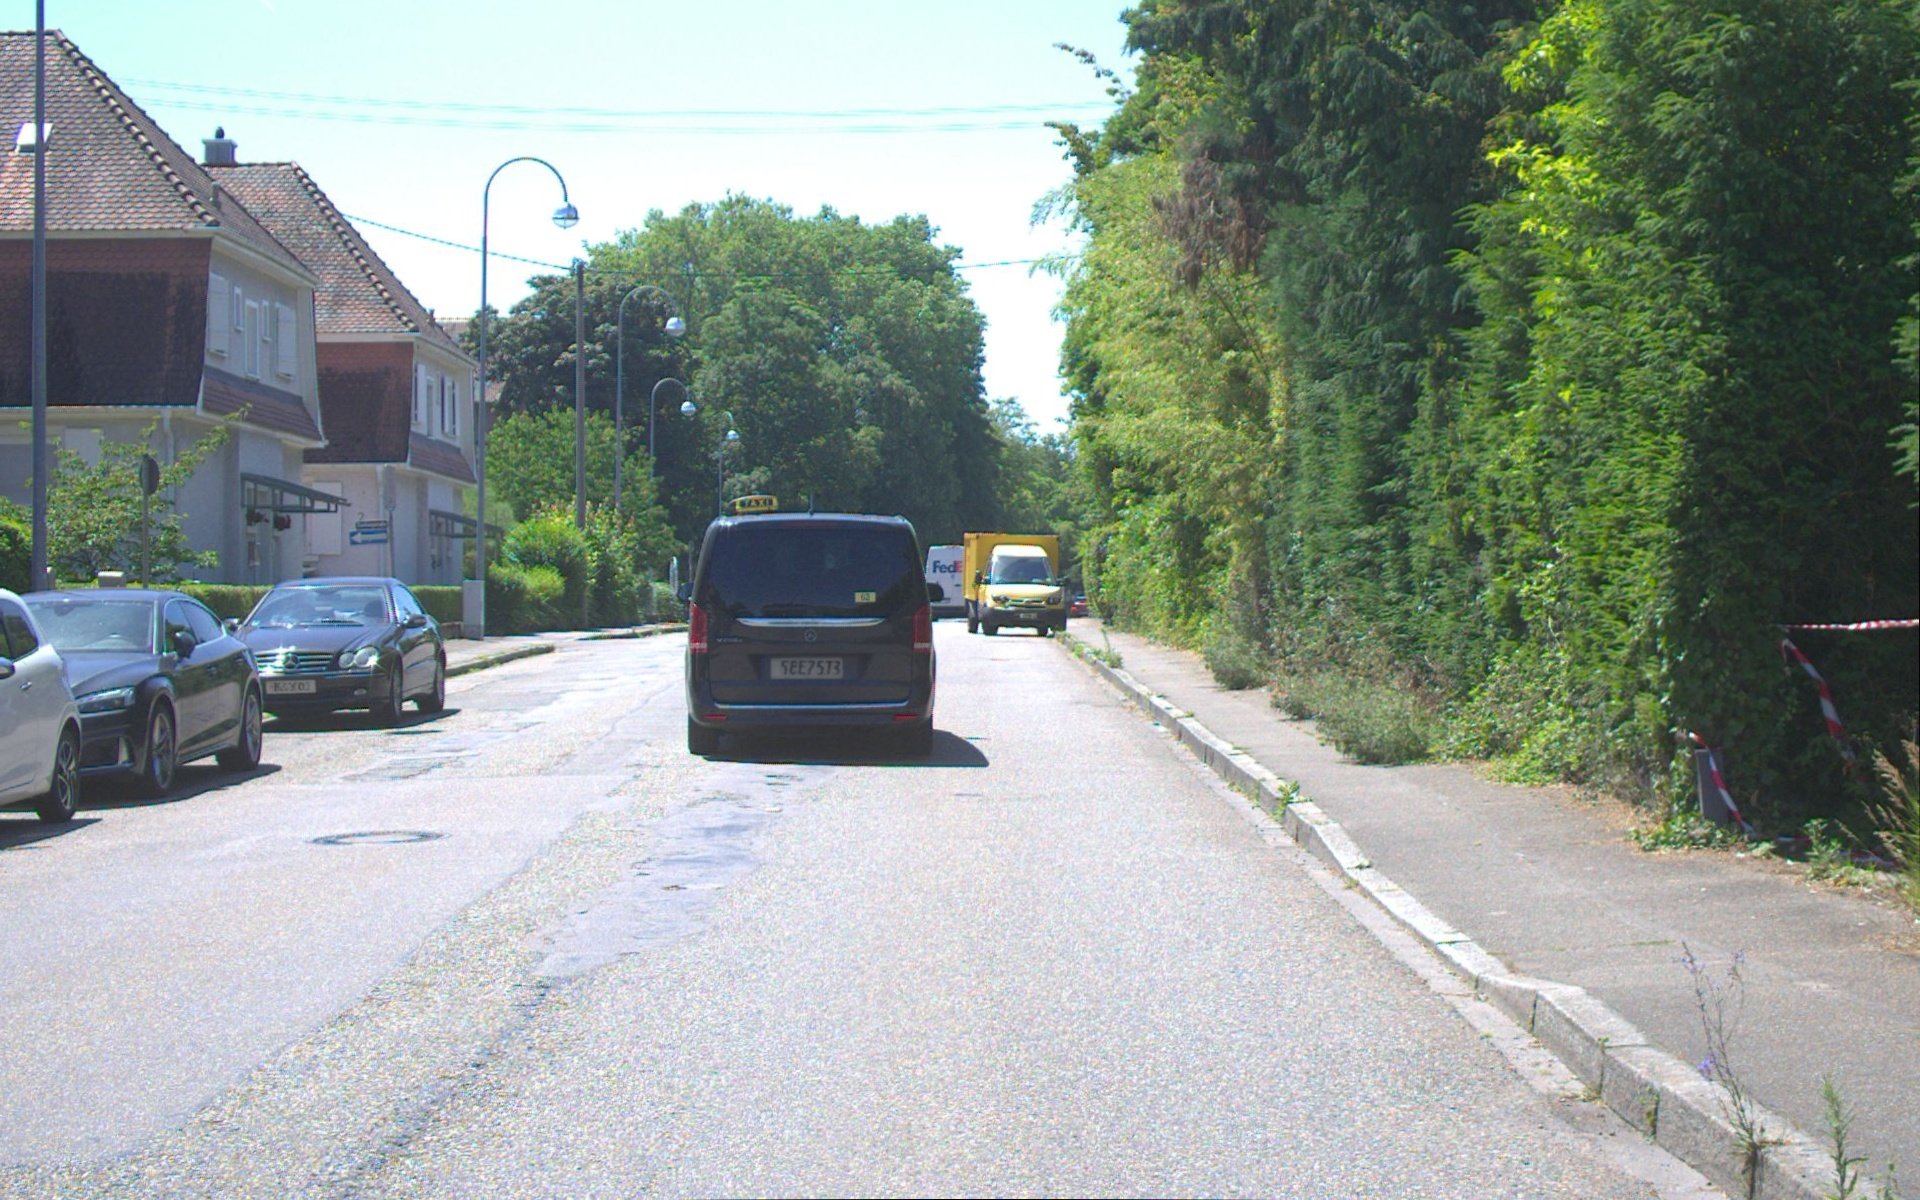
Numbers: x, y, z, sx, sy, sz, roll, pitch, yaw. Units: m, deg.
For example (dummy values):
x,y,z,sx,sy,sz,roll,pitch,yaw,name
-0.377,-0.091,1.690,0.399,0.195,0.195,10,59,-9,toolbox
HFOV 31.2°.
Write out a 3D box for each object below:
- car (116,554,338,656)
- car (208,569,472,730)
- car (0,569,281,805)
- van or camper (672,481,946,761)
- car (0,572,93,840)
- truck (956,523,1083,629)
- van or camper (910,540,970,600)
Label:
x,y,z,sx,sy,sz,roll,pitch,yaw,name
-14.177,0.082,66.614,3.867,1.898,1.880,-1,0,0,car
-5.902,0.431,33.186,1.666,1.381,4.380,-2,1,1,car
-6.058,0.537,24.165,1.666,1.487,4.466,0,1,0,car
-1.112,0.138,27.656,1.903,2.007,5.270,1,0,0,van or camper
-6.201,0.608,19.458,1.666,1.487,3.478,-1,1,0,car
1.262,-0.520,76.466,2.355,2.251,6.092,0,0,-3,truck
-0.669,-1.000,117.035,1.993,2.007,4.000,0,0,0,van or camper
